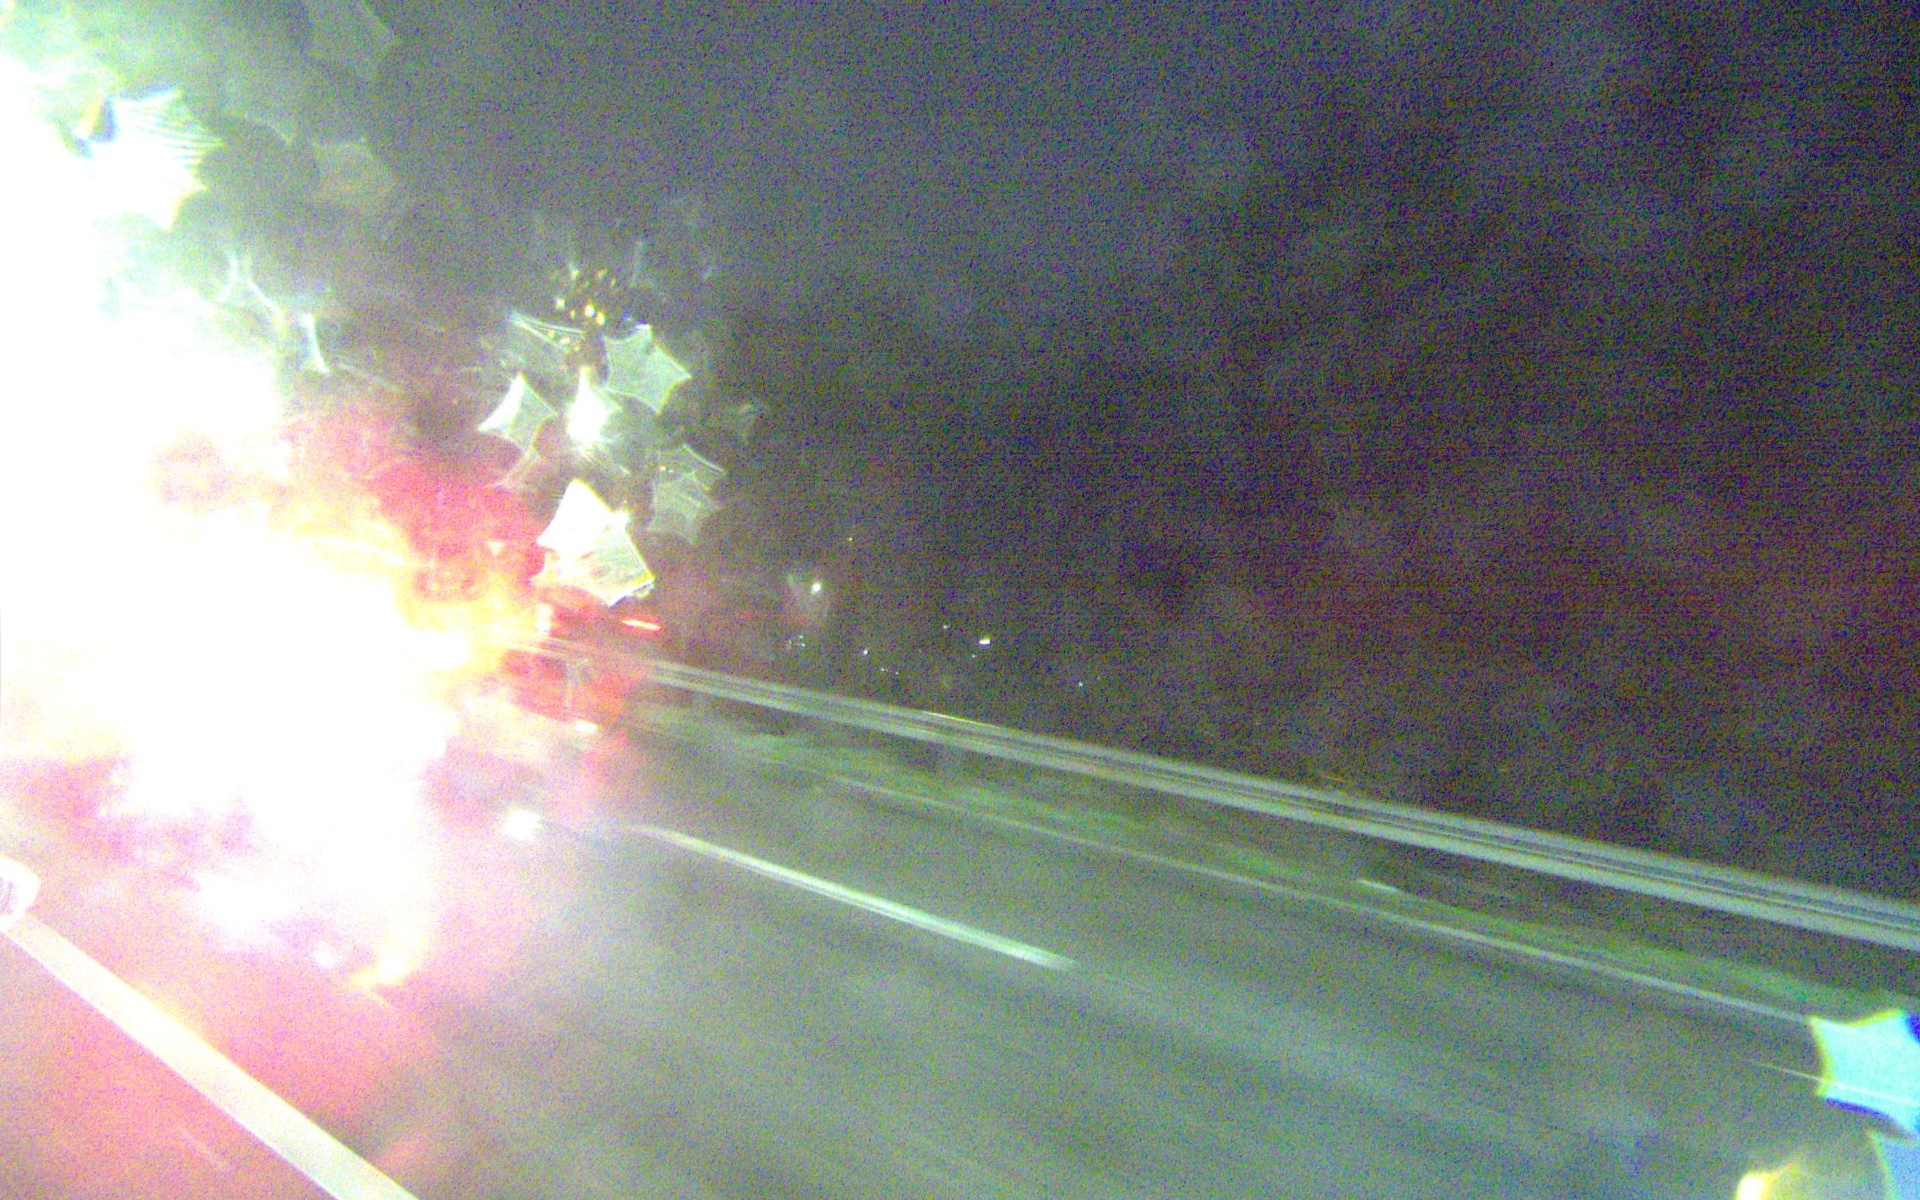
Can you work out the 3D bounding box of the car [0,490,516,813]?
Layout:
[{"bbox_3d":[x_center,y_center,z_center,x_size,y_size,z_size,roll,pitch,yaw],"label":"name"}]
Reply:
[{"bbox_3d":[-5.042,0.230,6.742,3.894,1.538,1.682,6,-3,30],"label":"car"}]

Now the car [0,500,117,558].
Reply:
[{"bbox_3d":[-34.394,-2.737,37.173,1.824,1.535,4.499,8,-3,27],"label":"car"}]

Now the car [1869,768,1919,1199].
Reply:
[{"bbox_3d":[4.217,1.335,1.095,4.487,1.522,1.677,7,-4,35],"label":"car"}]

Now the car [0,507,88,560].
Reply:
[{"bbox_3d":[-31.916,-2.397,33.370,1.716,1.360,4.057,8,-3,27],"label":"car"}]

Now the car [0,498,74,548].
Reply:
[{"bbox_3d":[-37.067,-3.169,38.566,1.824,1.535,4.179,8,-3,27],"label":"car"}]
